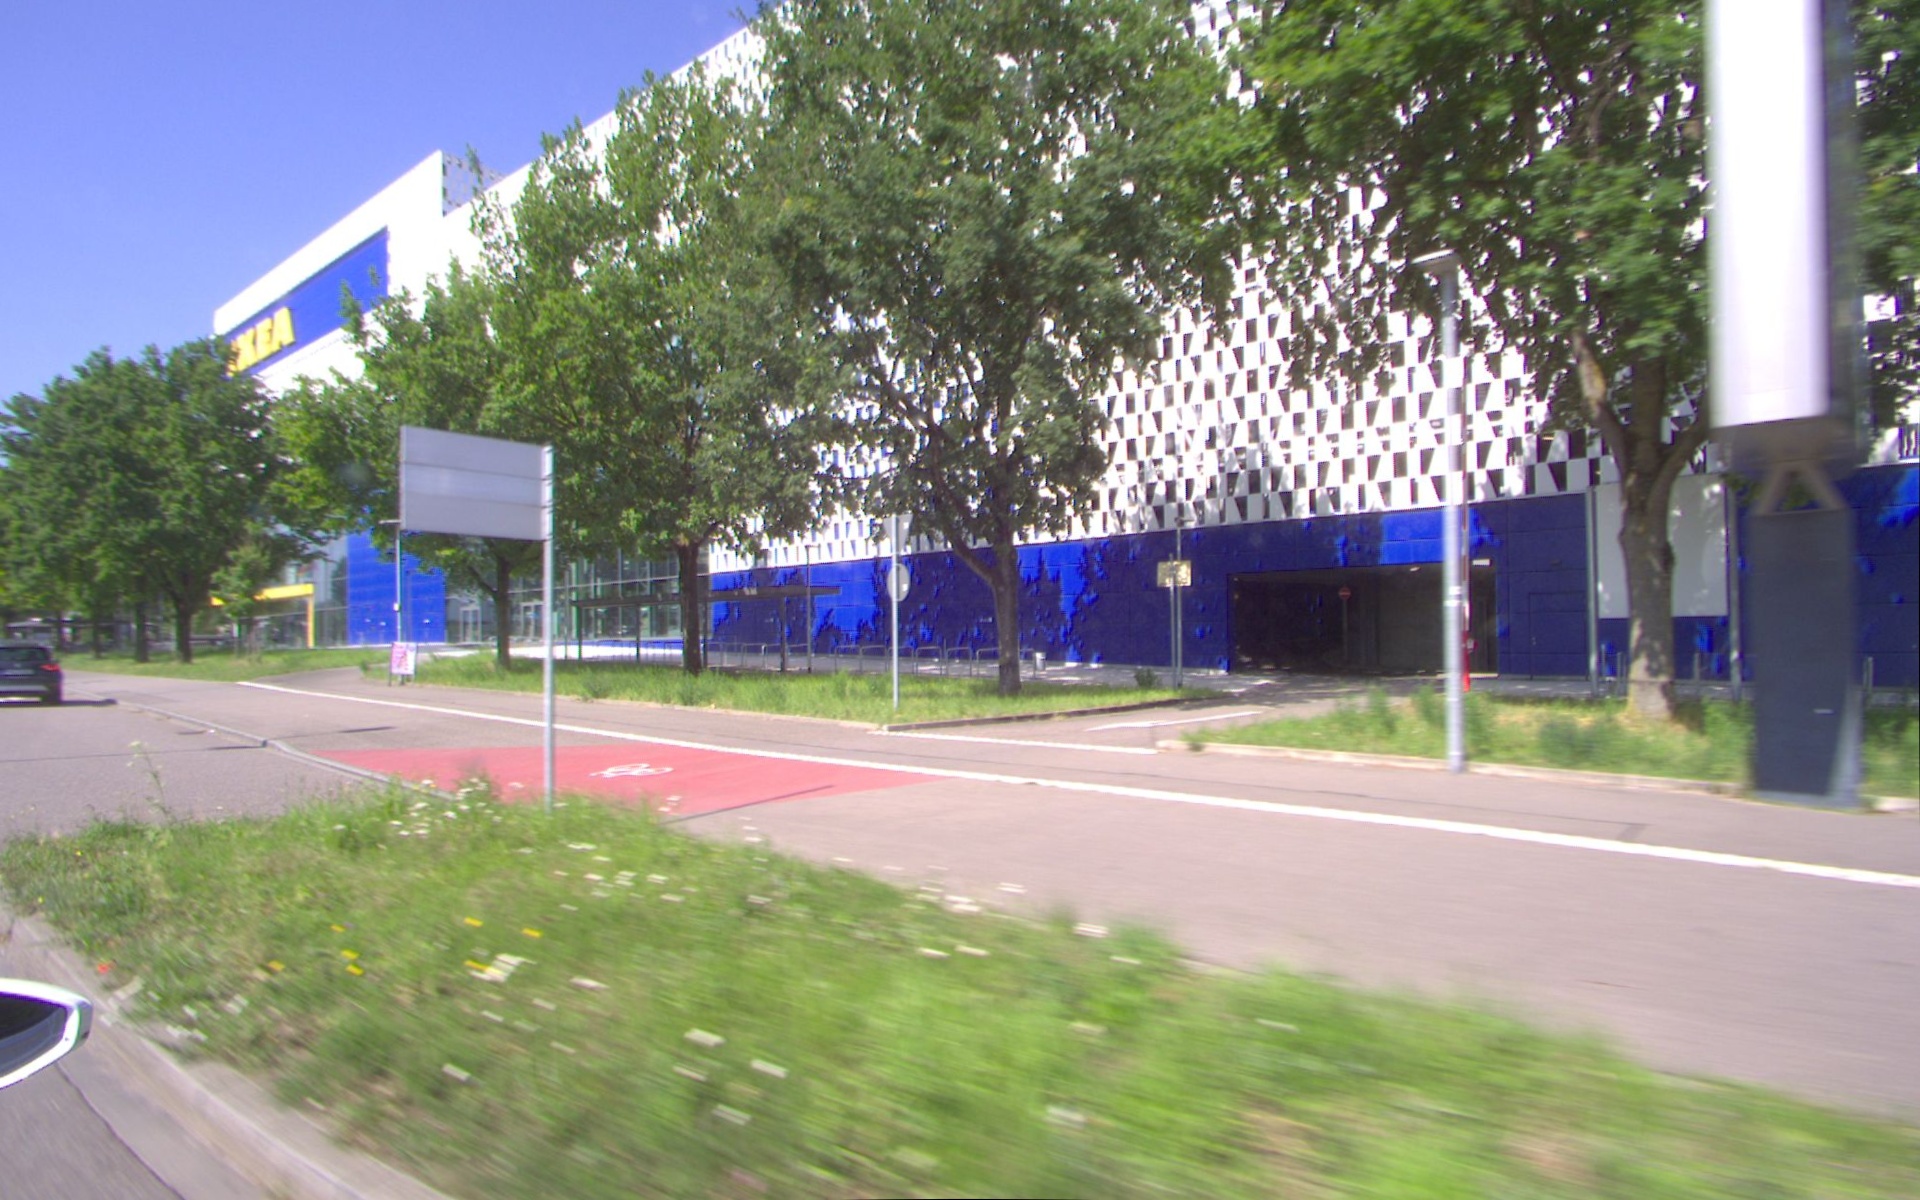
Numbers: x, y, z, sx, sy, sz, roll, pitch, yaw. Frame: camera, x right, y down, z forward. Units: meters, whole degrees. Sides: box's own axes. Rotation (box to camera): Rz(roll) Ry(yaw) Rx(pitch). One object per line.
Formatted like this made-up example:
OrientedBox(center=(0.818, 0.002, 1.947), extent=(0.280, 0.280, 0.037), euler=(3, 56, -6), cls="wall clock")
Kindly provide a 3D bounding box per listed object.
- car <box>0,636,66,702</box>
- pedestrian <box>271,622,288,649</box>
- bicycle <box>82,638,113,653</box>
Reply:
OrientedBox(center=(-23.485, 1.666, 24.768), extent=(3.339, 1.542, 1.662), euler=(-2, -3, 42), cls="car")
OrientedBox(center=(-41.642, 2.145, 61.271), extent=(0.761, 1.633, 0.685), euler=(-1, 0, 37), cls="pedestrian")
OrientedBox(center=(-64.573, 3.389, 74.968), extent=(0.447, 1.110, 1.750), euler=(-1, -1, 40), cls="bicycle")
